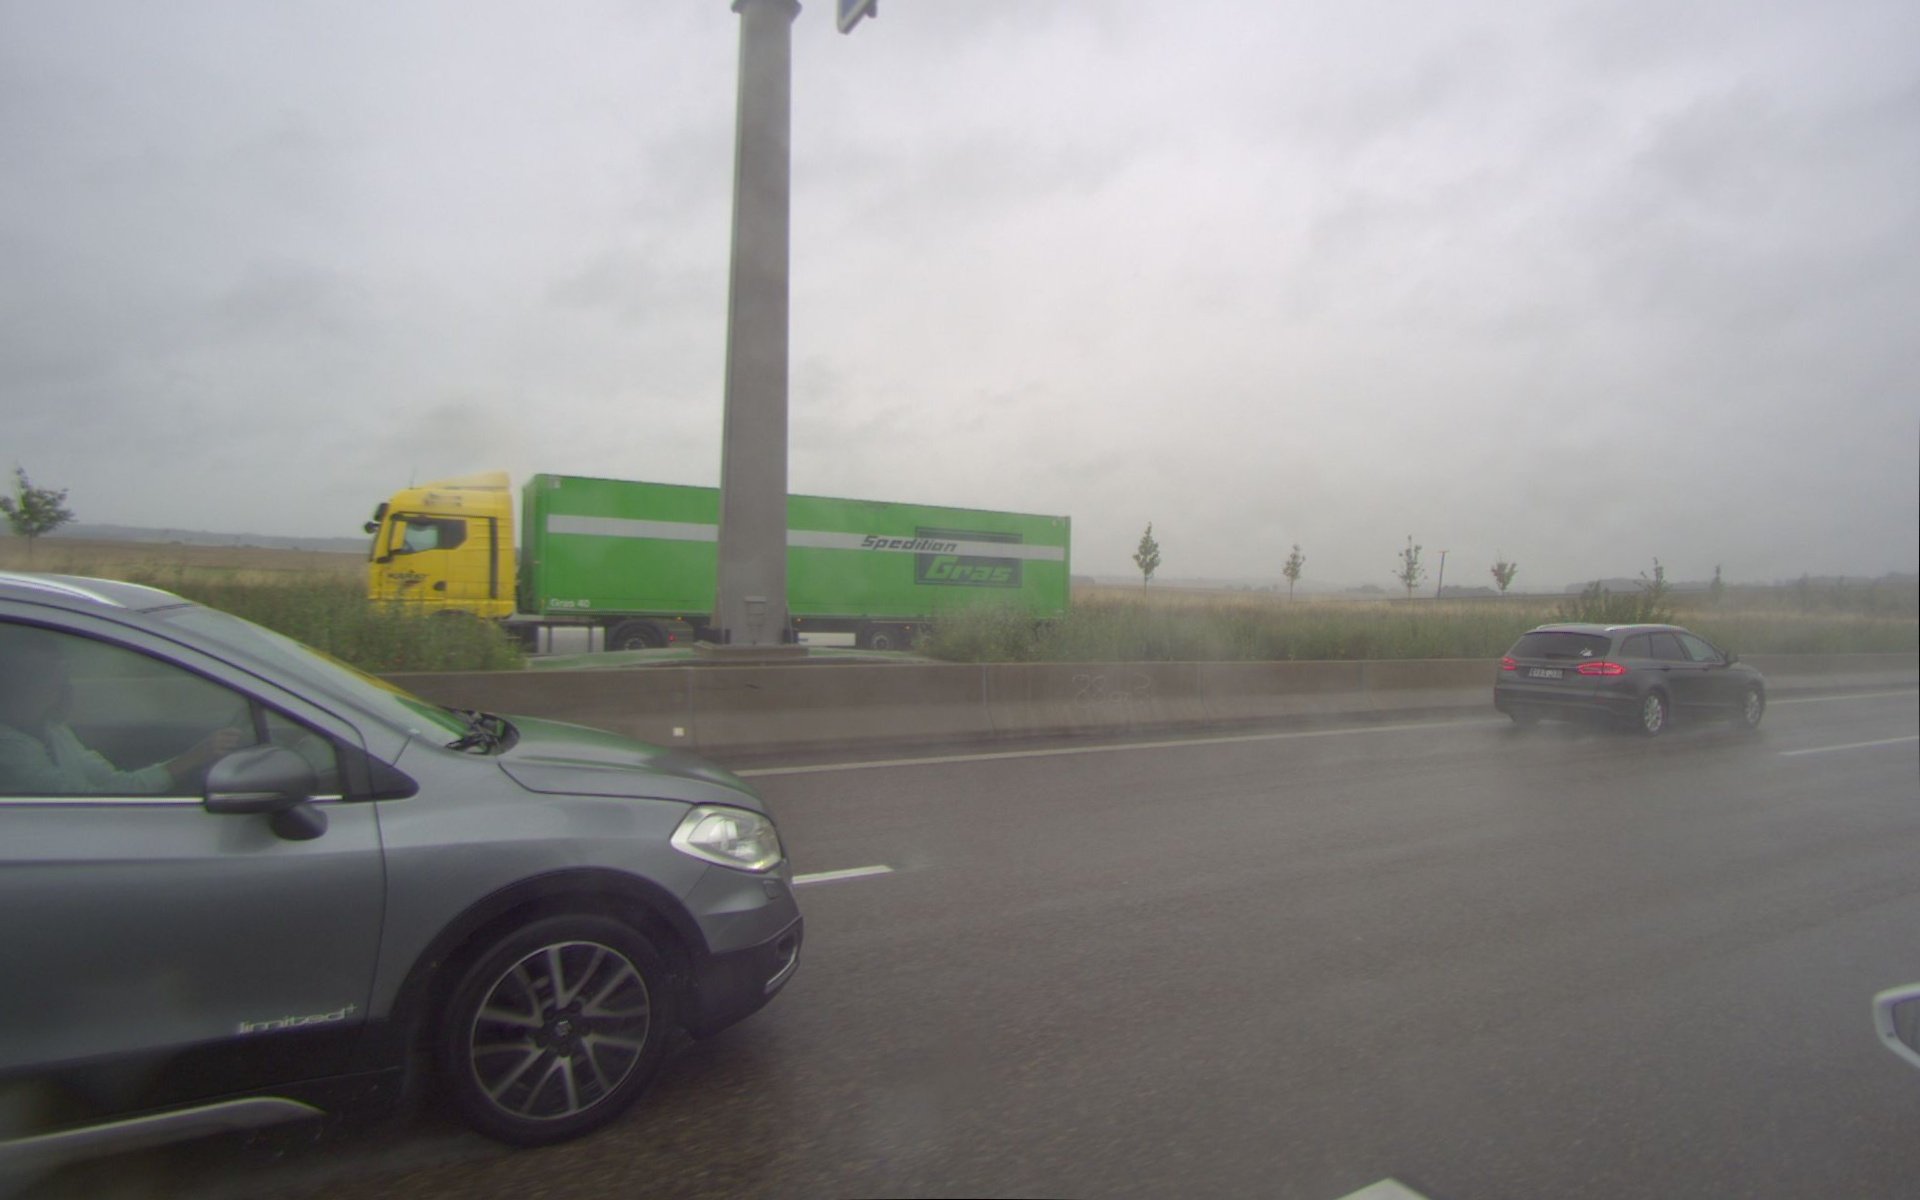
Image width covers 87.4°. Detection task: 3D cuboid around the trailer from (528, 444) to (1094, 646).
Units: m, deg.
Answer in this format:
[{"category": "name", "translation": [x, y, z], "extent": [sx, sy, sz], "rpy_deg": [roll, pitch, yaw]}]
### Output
[{"category": "trailer", "translation": [-2.912, -0.979, 24.855], "extent": [14.138, 4.094, 1.983], "rpy_deg": [1, 0, -31]}]

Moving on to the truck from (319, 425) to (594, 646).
[{"category": "truck", "translation": [-10.169, -1.145, 20.520], "extent": [4.763, 4.044, 2.000], "rpy_deg": [1, 0, -30]}]

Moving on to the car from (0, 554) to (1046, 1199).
[{"category": "car", "translation": [-2.211, 0.666, 3.001], "extent": [4.699, 1.533, 1.838], "rpy_deg": [1, 0, -30]}]

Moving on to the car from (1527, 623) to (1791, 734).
[{"category": "car", "translation": [10.121, 1.054, 14.487], "extent": [3.953, 1.372, 1.605], "rpy_deg": [1, 0, -30]}]
